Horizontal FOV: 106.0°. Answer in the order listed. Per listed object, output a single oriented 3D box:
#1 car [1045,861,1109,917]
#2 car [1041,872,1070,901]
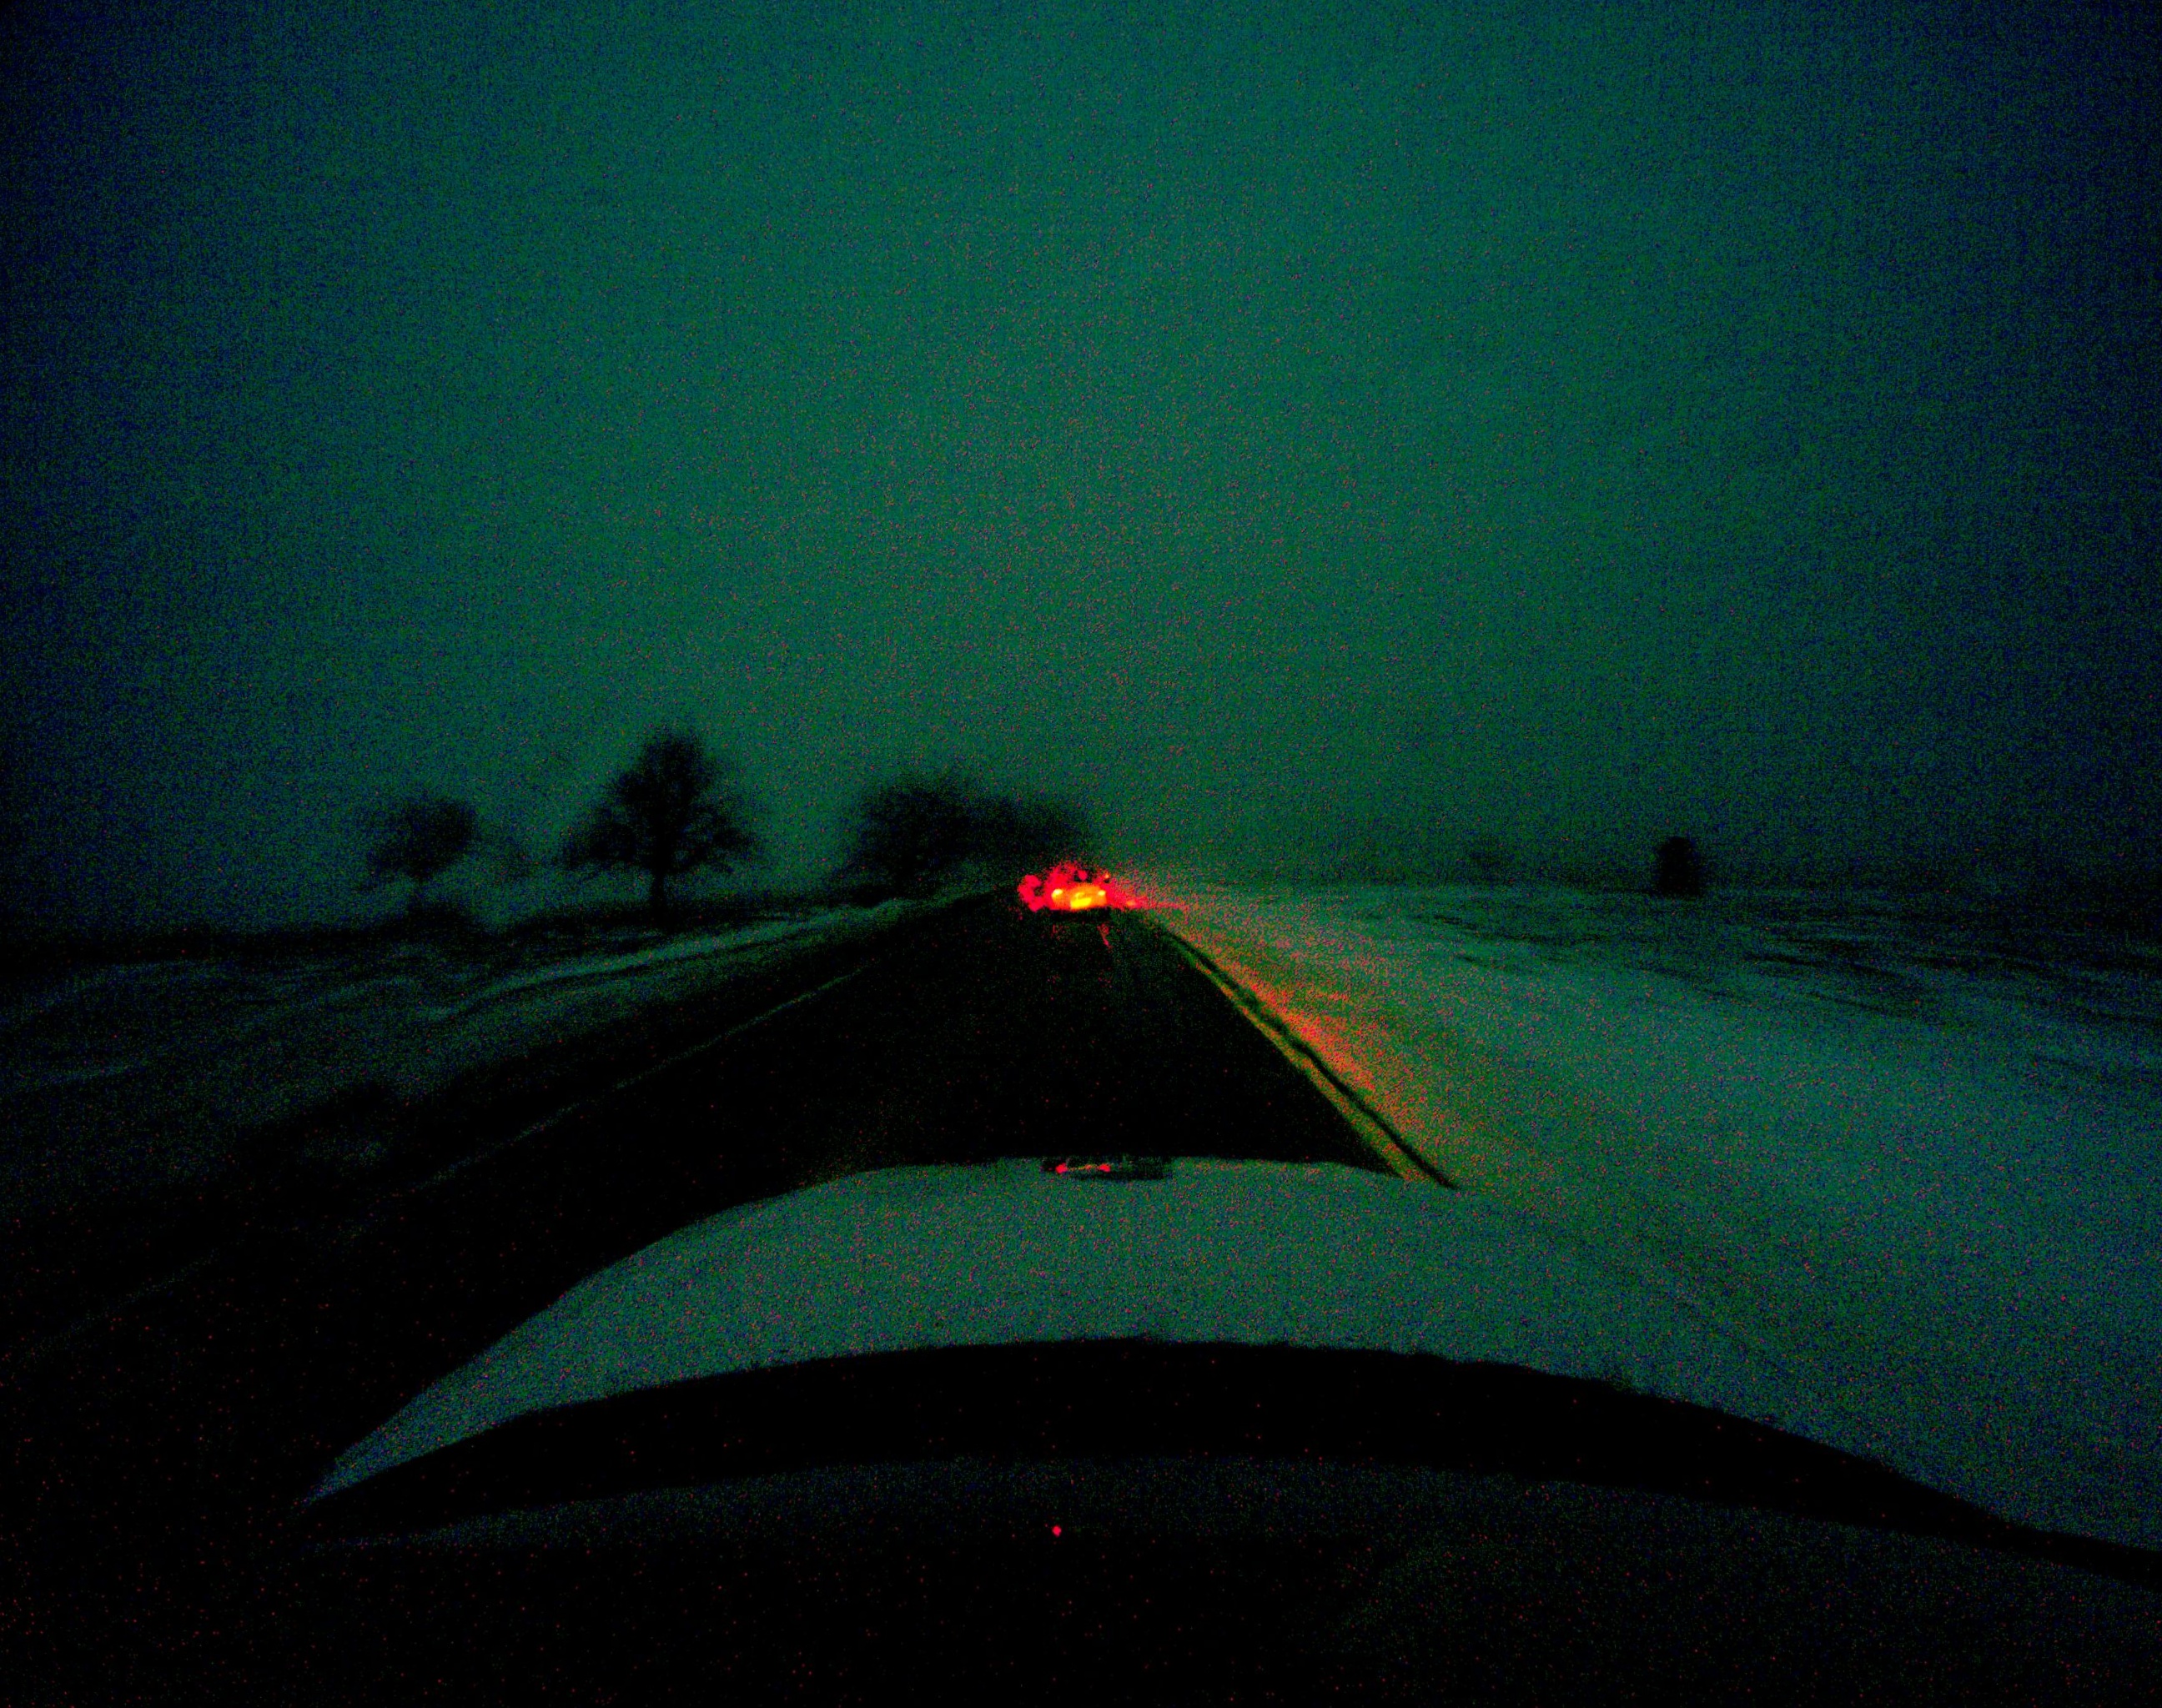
[{"bbox_3d":[-0.172,0.941,23.593,1.702,1.463,3.997,0,-1,-2],"label":"car"},{"bbox_3d":[-1.409,1.791,45.534,1.474,1.508,3.053,-2,-1,0],"label":"car"}]
